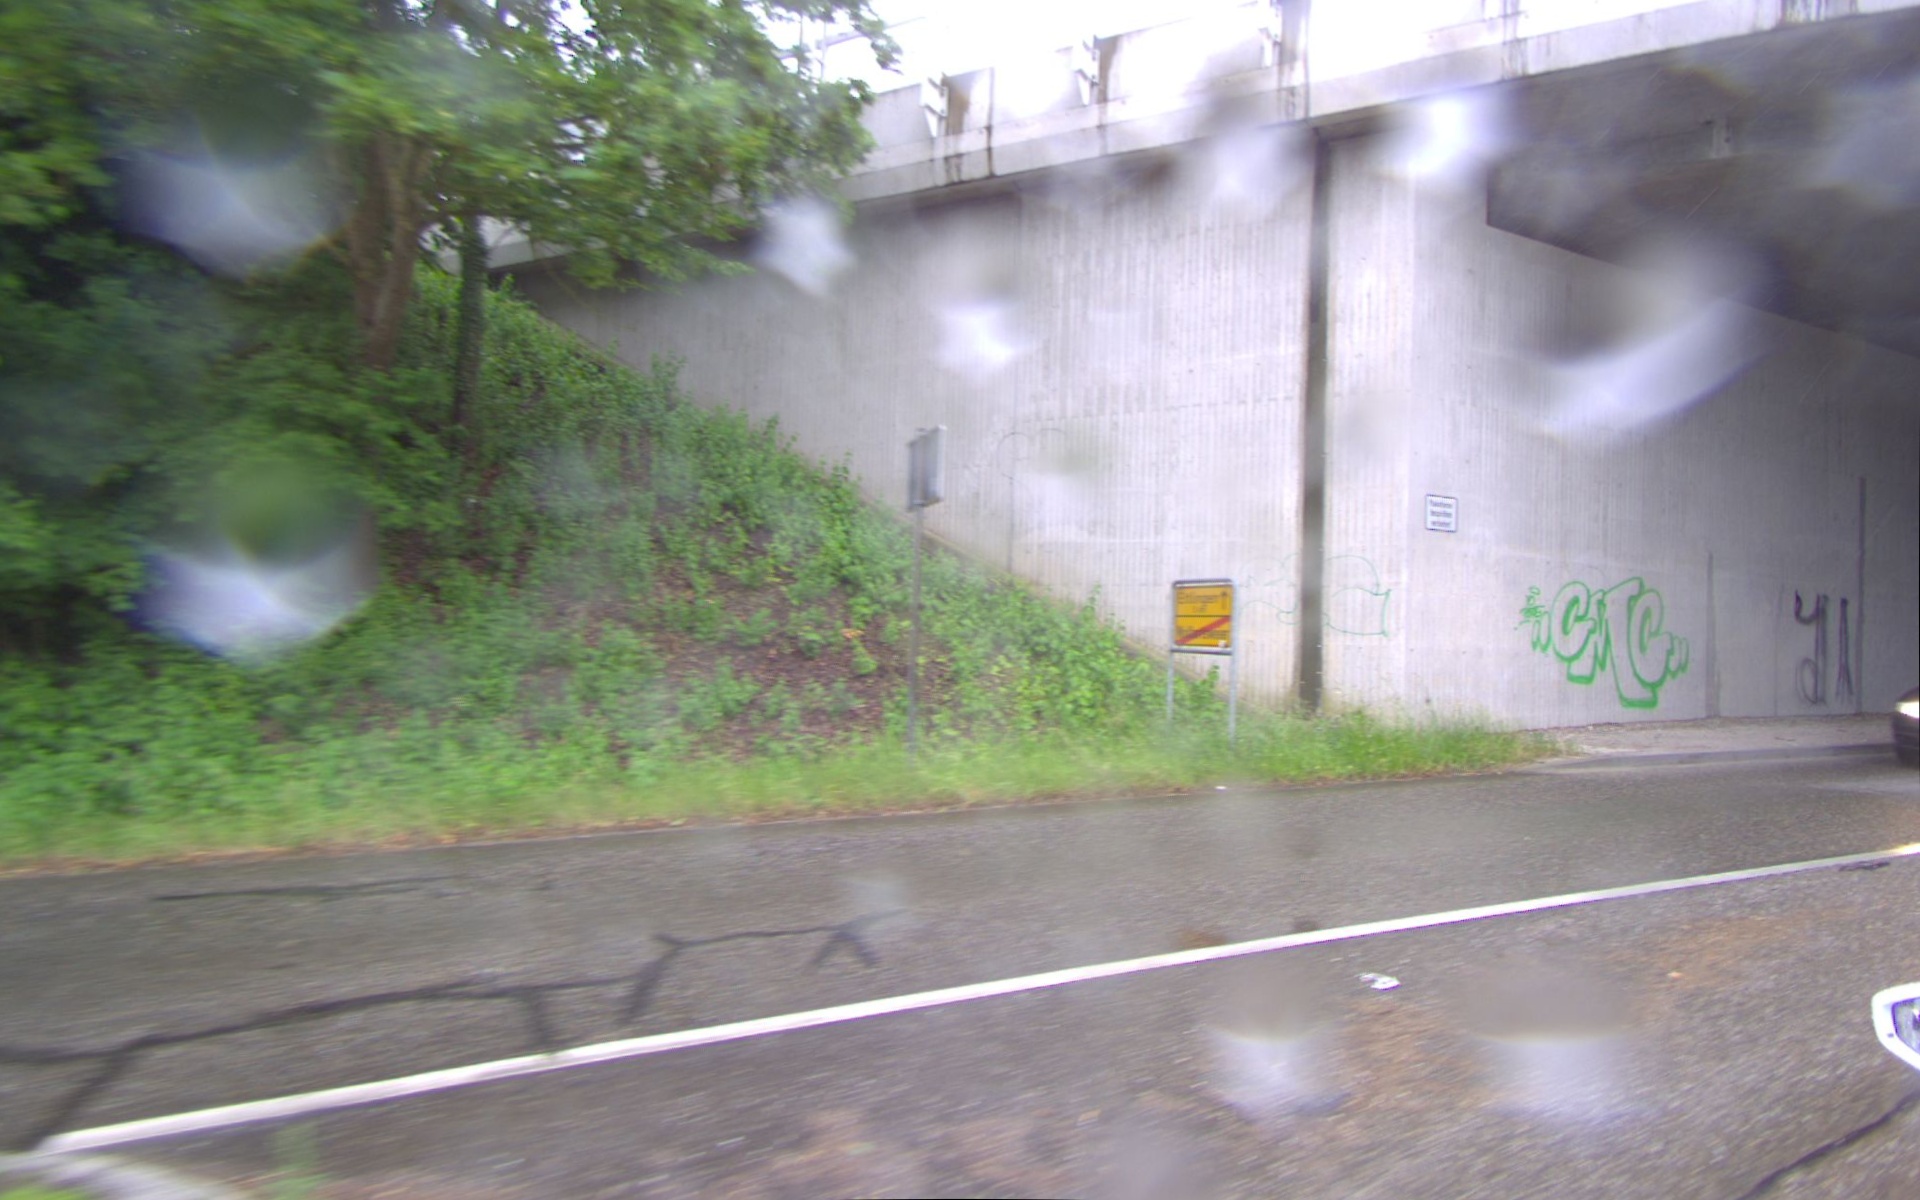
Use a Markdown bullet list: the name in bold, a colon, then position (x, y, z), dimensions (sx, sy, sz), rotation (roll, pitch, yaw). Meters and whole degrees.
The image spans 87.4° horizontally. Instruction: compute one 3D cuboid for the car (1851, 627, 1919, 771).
- **car**: position (12.084, 1.119, 11.275), dimensions (4.018, 1.506, 1.685), rotation (2, -1, -26)
